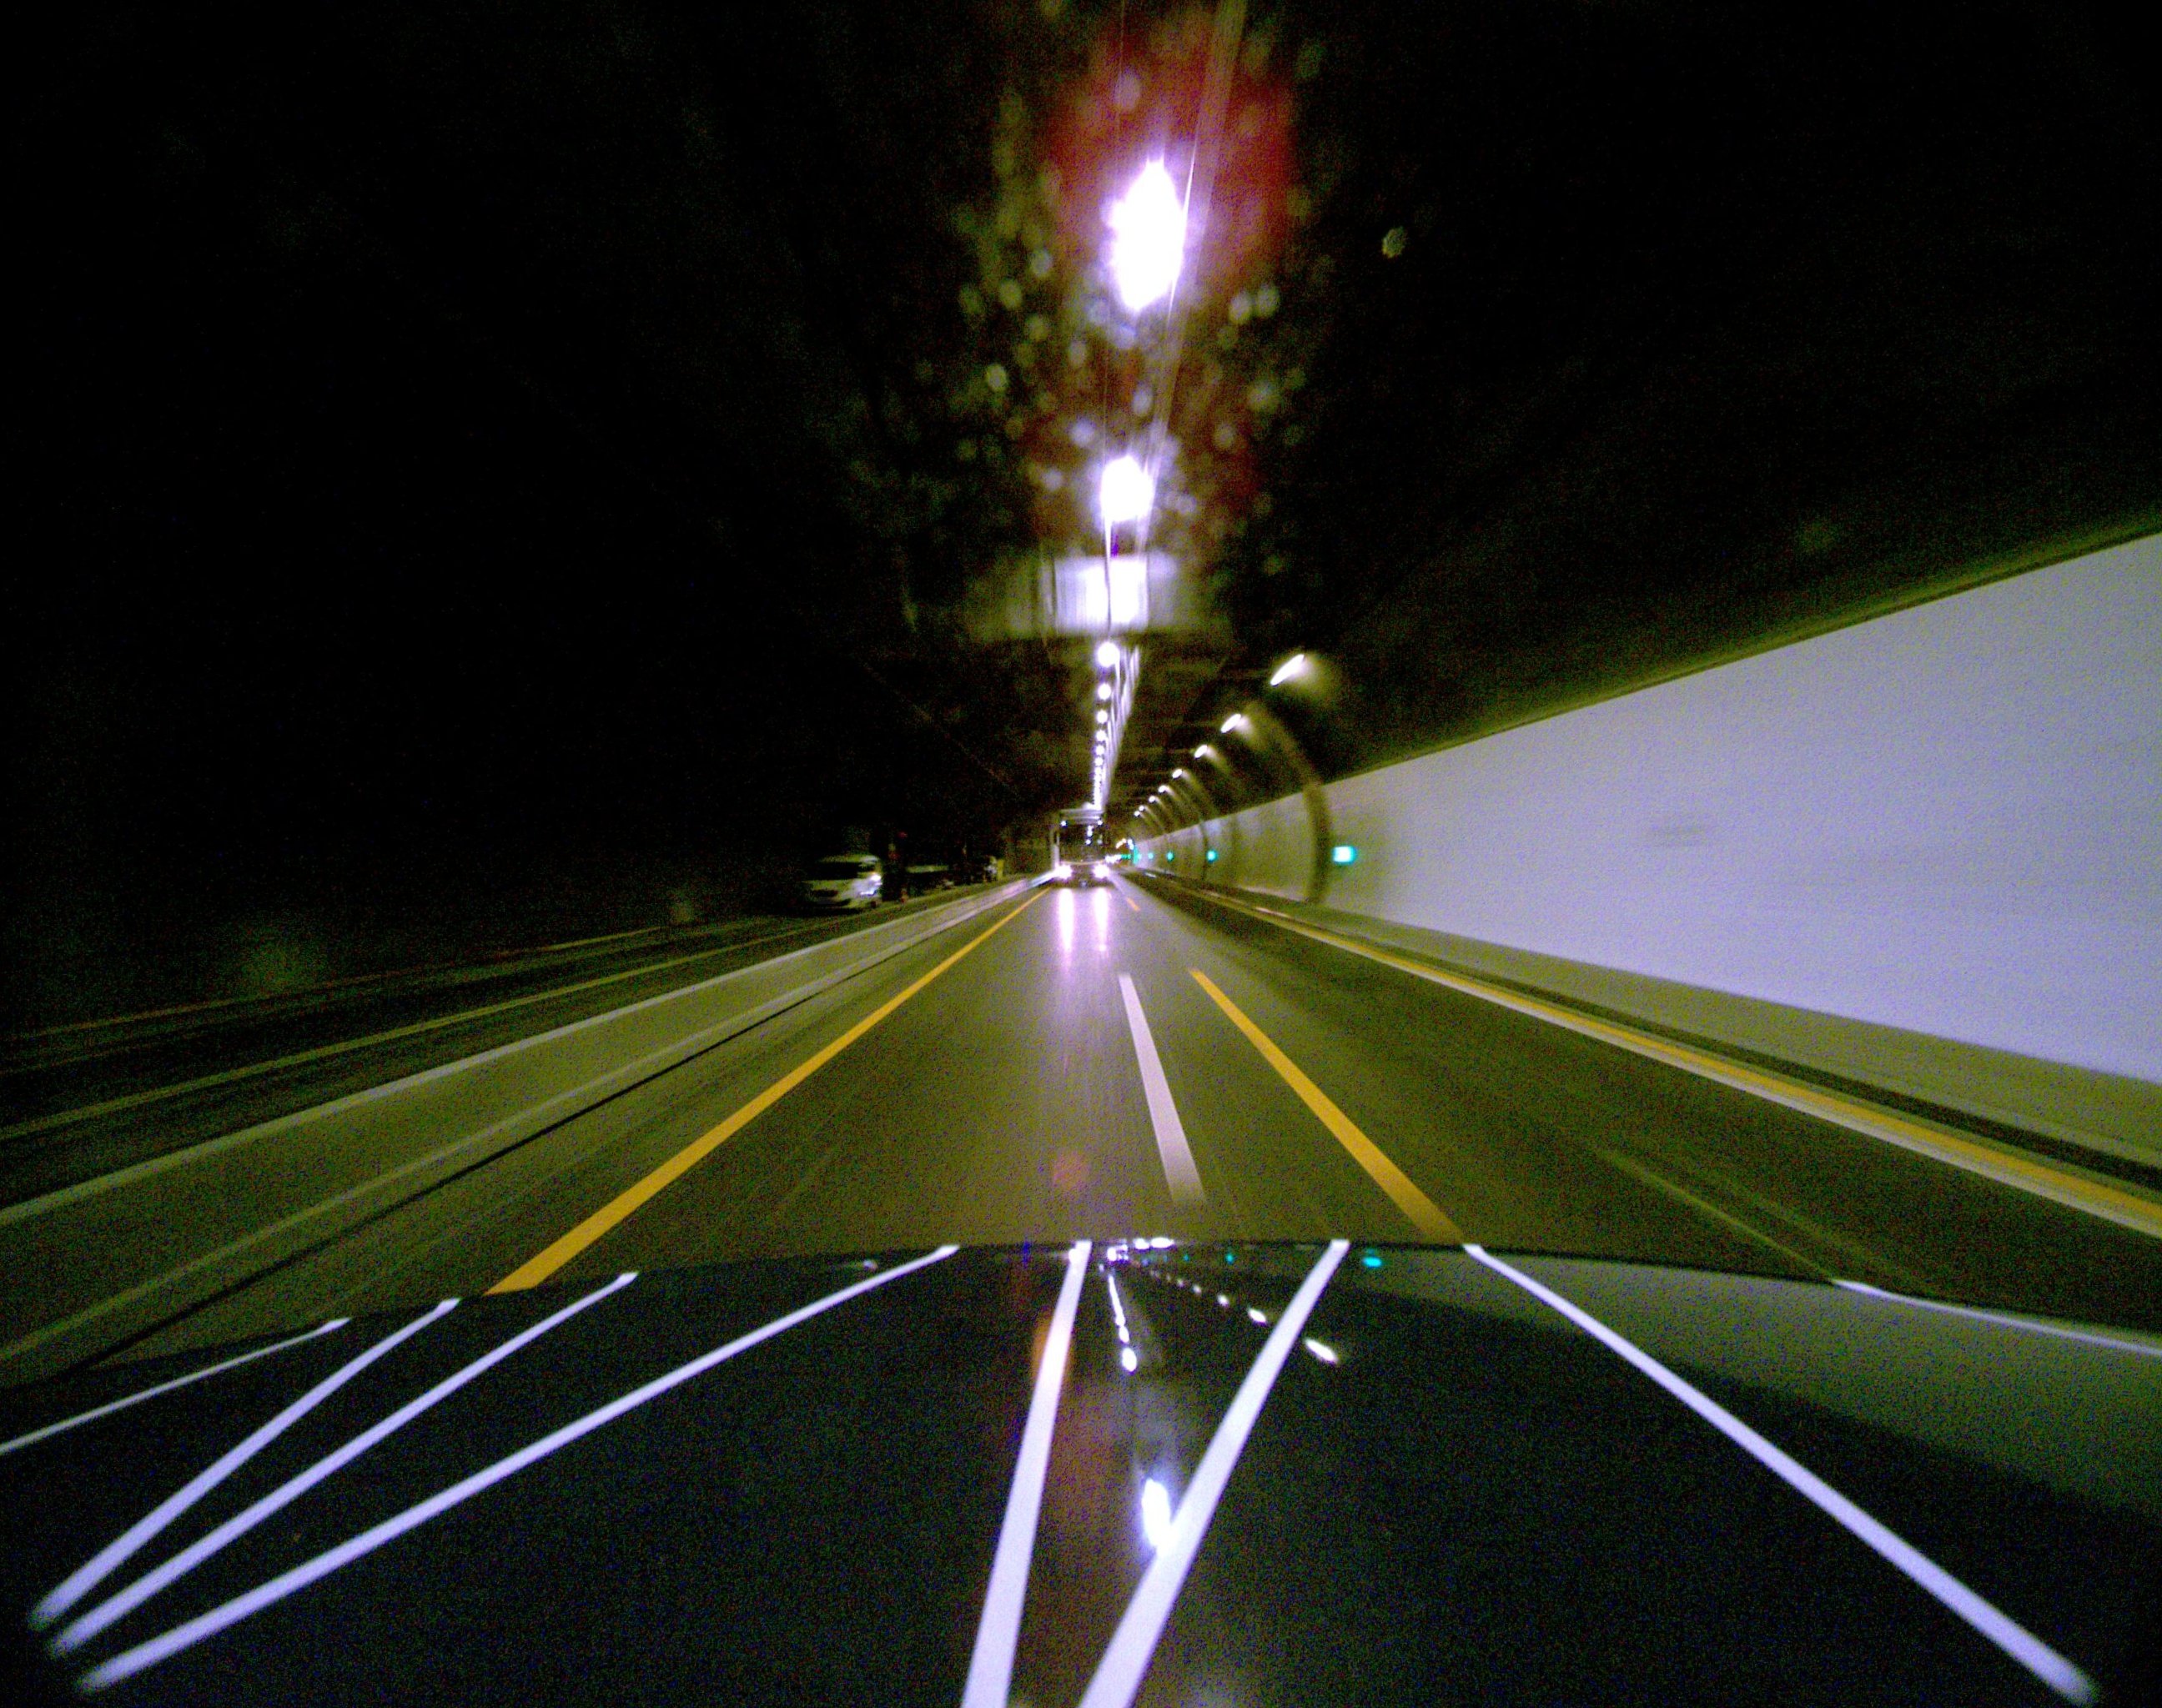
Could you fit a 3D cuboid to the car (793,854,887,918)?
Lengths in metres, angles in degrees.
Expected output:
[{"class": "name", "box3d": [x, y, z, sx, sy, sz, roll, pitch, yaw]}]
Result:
[{"class": "car", "box3d": [-7.662, 0.928, 24.638, 1.756, 1.834, 4.644, -1, 0, -3]}]

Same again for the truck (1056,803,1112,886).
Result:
[{"class": "truck", "box3d": [0.234, -0.512, 42.800, 2.769, 4.198, 7.977, -1, 1, 1]}]

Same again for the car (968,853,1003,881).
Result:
[{"class": "car", "box3d": [-6.806, 0.905, 54.630, 1.832, 1.848, 5.441, -3, 0, -1]}]
